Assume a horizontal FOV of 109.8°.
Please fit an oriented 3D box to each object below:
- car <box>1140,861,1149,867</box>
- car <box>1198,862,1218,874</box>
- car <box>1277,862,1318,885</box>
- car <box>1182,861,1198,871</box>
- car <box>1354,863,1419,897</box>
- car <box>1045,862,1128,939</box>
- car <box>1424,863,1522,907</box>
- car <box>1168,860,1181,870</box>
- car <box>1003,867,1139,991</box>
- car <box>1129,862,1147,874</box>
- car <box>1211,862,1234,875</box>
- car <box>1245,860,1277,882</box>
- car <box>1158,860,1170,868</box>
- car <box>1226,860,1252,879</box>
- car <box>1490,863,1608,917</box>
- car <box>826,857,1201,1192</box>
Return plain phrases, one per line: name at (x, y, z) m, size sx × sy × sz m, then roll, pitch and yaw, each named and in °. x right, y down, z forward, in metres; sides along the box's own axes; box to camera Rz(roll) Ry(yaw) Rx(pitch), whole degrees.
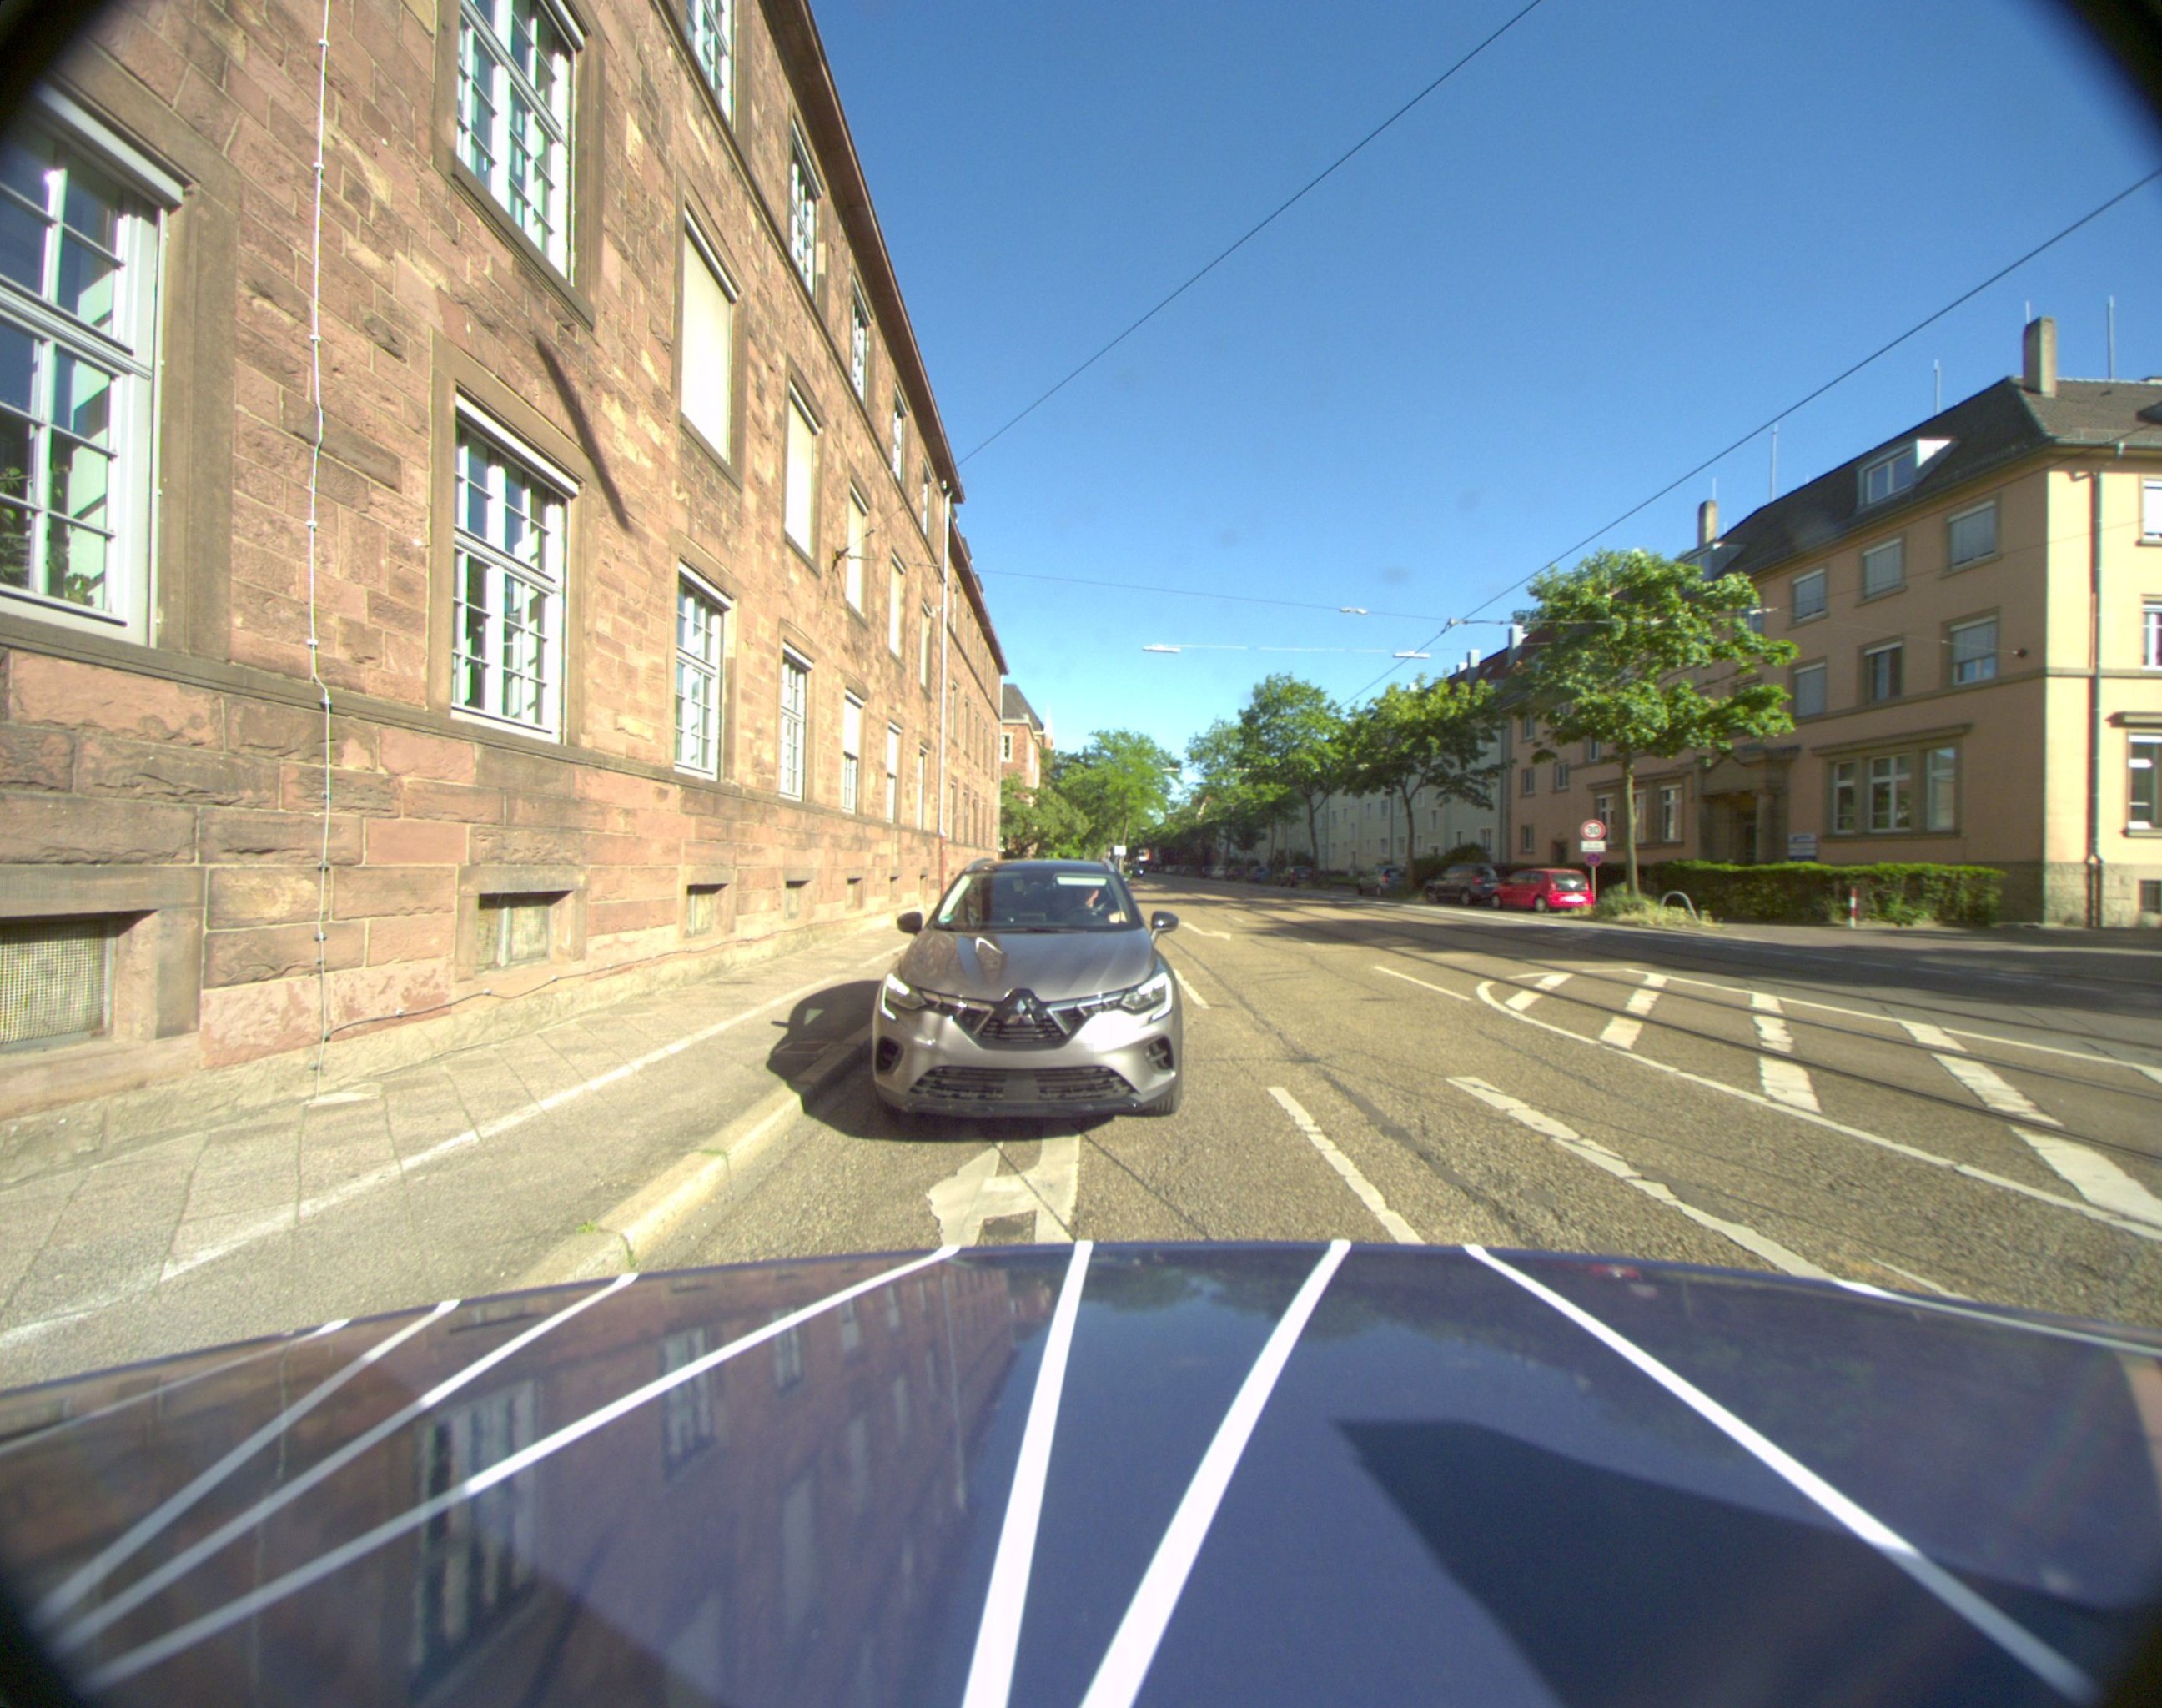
car at (16.048, 2.484, 191.296) m, size 1.816 × 1.411 × 3.630 m, roll 1°, pitch 0°, yaw -2°
car at (15.833, 1.761, 94.851) m, size 1.816 × 1.411 × 3.630 m, roll 1°, pitch 0°, yaw -2°
car at (15.782, 1.434, 55.595) m, size 1.816 × 1.589 × 3.630 m, roll 1°, pitch 0°, yaw -2°
car at (16.023, 1.748, 111.852) m, size 1.816 × 1.411 × 3.630 m, roll 1°, pitch 0°, yaw -2°
car at (15.724, 1.307, 39.351) m, size 1.816 × 1.648 × 3.877 m, roll 1°, pitch 0°, yaw 1°
car at (0.067, 1.020, 18.483) m, size 1.796 × 1.638 × 4.083 m, roll 0°, pitch 0°, yaw -2°
car at (15.637, 1.191, 30.541) m, size 1.816 × 1.648 × 3.819 m, roll 1°, pitch 0°, yaw -3°
car at (16.573, 1.945, 135.232) m, size 1.816 × 1.768 × 3.630 m, roll 1°, pitch 0°, yaw -2°
car at (-0.186, 1.037, 12.036) m, size 1.796 × 1.595 × 3.799 m, roll 0°, pitch 0°, yaw -2°
car at (7.275, 1.776, 97.204) m, size 1.912 × 1.510 × 4.000 m, roll 1°, pitch 0°, yaw -1°
car at (16.018, 1.673, 85.924) m, size 1.816 × 1.411 × 3.630 m, roll 1°, pitch 0°, yaw -2°
car at (15.962, 1.478, 67.488) m, size 1.816 × 1.814 × 3.795 m, roll 1°, pitch 0°, yaw -2°
car at (15.961, 1.854, 146.869) m, size 1.816 × 1.514 × 3.630 m, roll 1°, pitch 0°, yaw -2°
car at (15.890, 1.535, 76.565) m, size 1.816 × 1.929 × 3.630 m, roll 1°, pitch 0°, yaw -2°
car at (15.848, 1.172, 25.933) m, size 1.816 × 1.696 × 3.374 m, roll 1°, pitch 0°, yaw -3°
car at (-0.370, 0.834, 5.576) m, size 1.796 × 1.595 × 3.799 m, roll 0°, pitch 0°, yaw -2°
